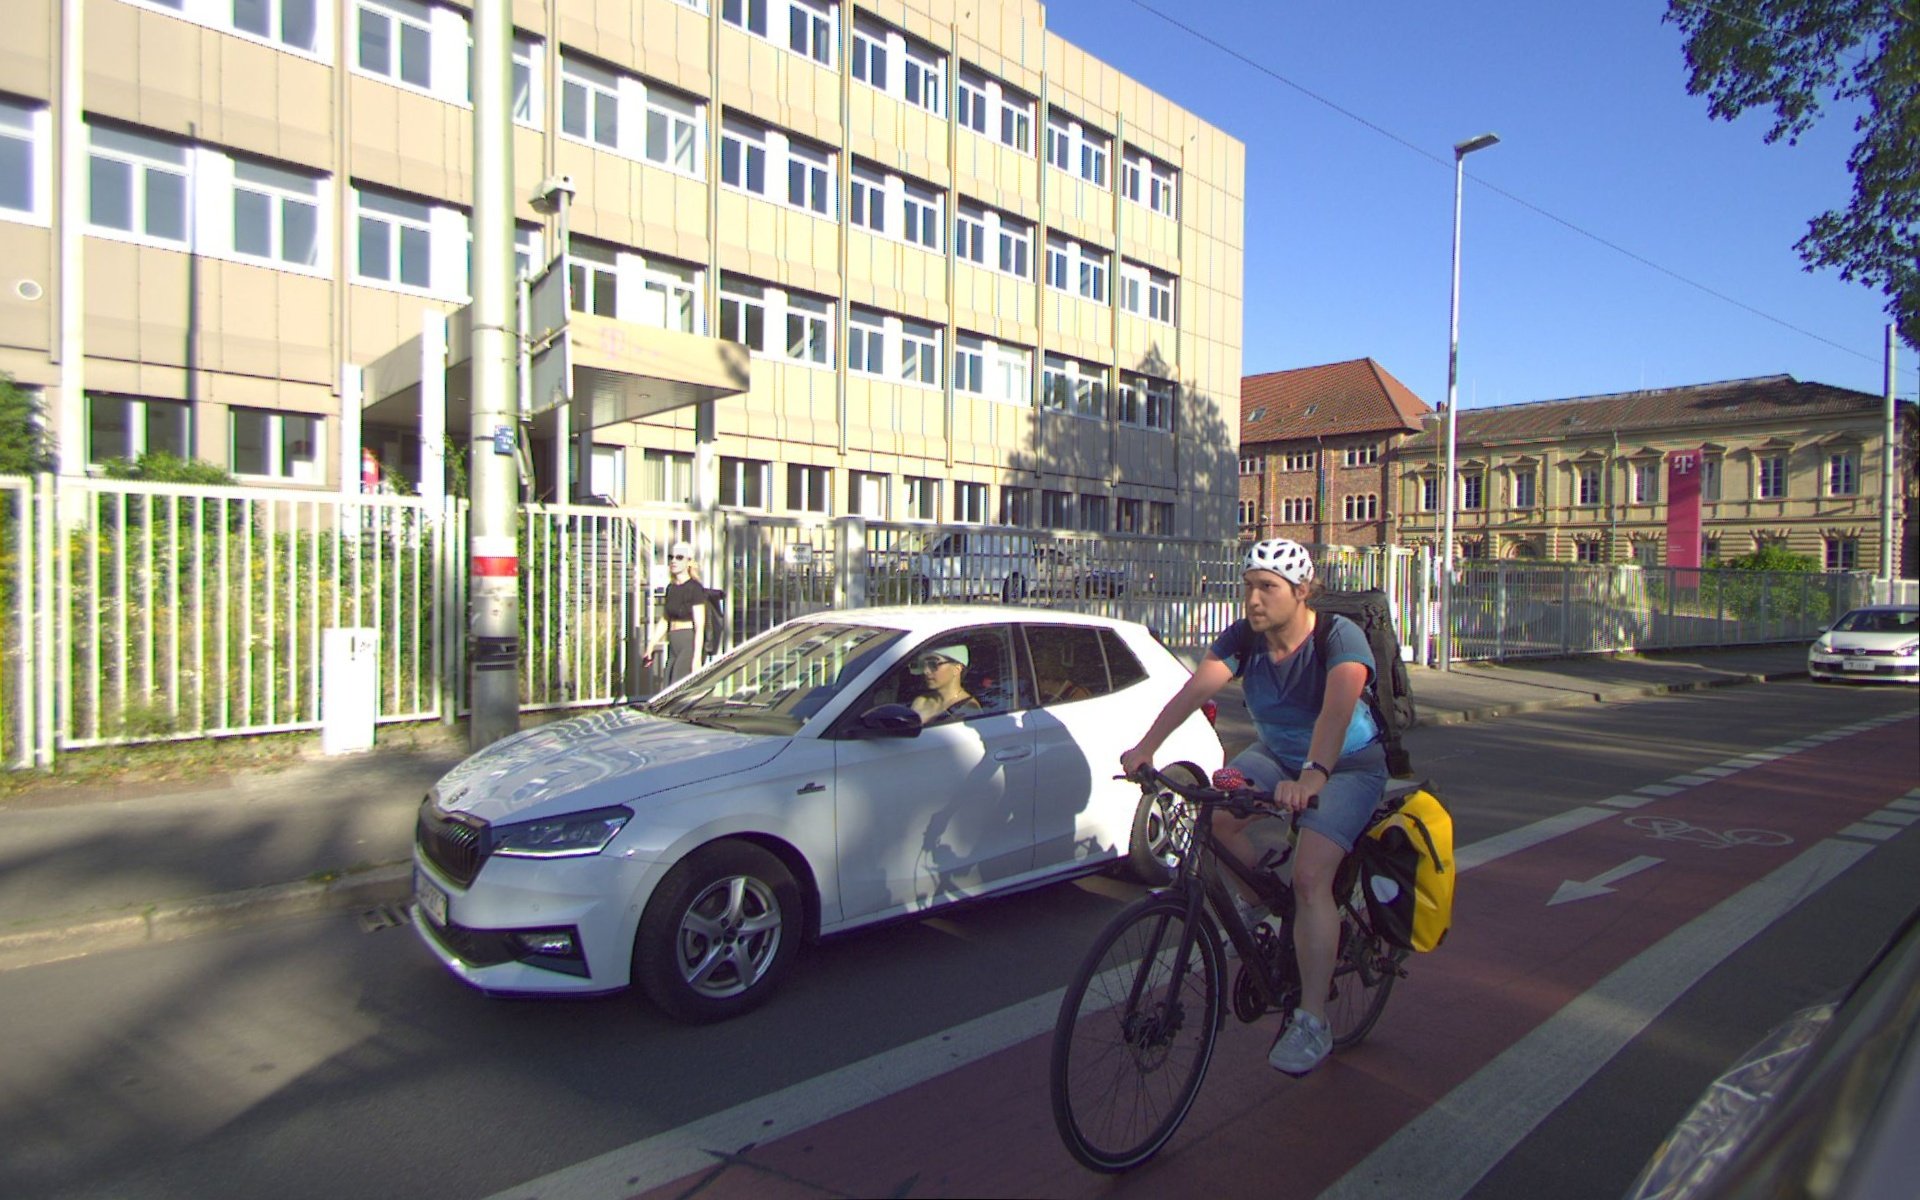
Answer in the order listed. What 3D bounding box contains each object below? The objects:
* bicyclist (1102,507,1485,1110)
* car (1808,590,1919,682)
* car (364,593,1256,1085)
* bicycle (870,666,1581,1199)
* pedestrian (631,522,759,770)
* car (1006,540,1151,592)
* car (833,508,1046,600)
[{"bbox_3d":[0.975,0.490,2.967,0.844,1.440,0.727,0,0,-38],"label":"bicyclist"},{"bbox_3d":[17.316,0.580,18.404,4.218,1.521,1.795,-1,-1,-34],"label":"car"},{"bbox_3d":[-0.429,0.678,4.900,4.004,1.406,1.704,0,1,-41],"label":"car"},{"bbox_3d":[0.903,0.851,2.899,2.265,1.158,0.764,0,2,-39],"label":"bicycle"},{"bbox_3d":[-2.025,0.321,7.730,0.756,1.784,0.592,0,1,-38],"label":"pedestrian"},{"bbox_3d":[3.835,-1.123,33.383,1.966,1.600,4.568,0,2,-43],"label":"car"},{"bbox_3d":[-0.373,-0.985,22.958,4.704,1.865,1.996,0,2,-43],"label":"car"}]
